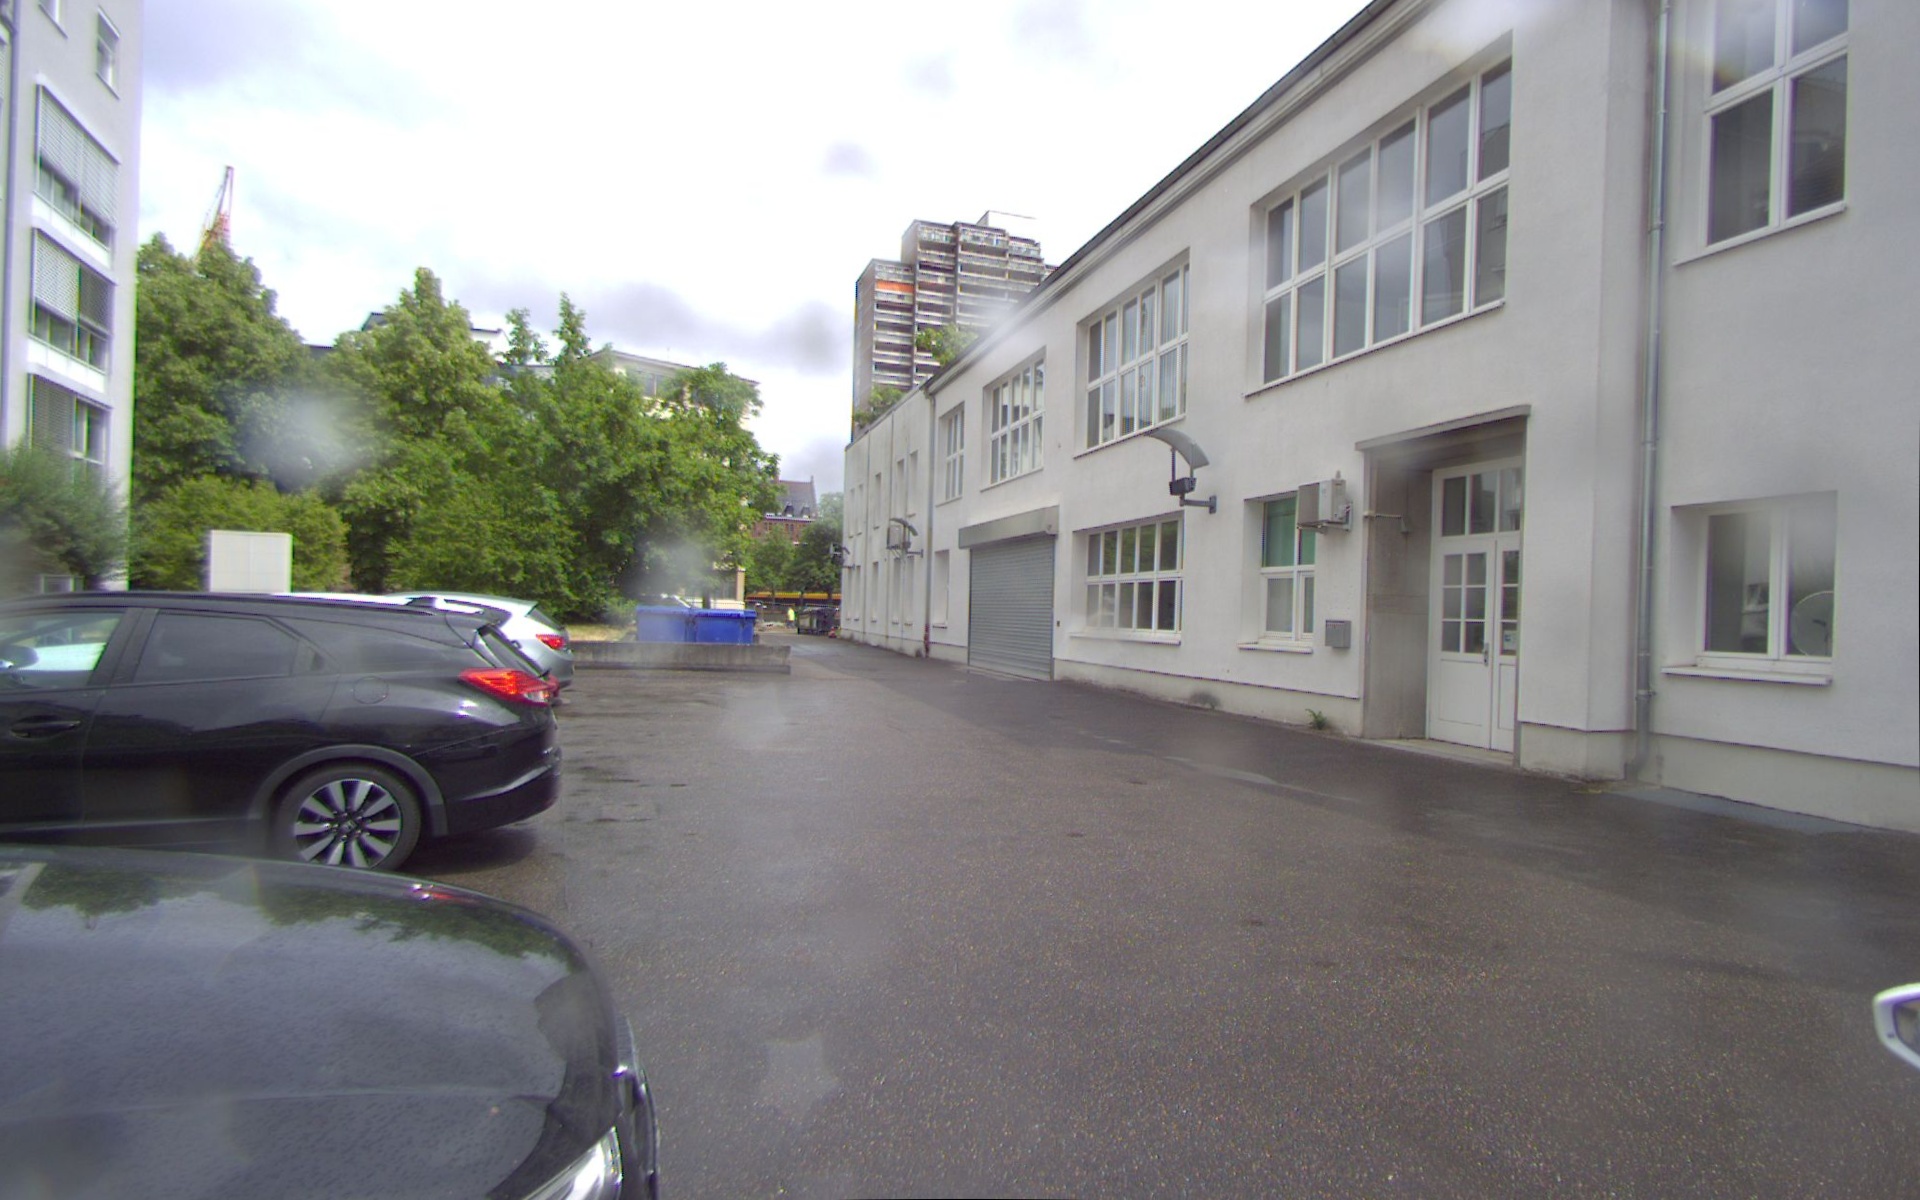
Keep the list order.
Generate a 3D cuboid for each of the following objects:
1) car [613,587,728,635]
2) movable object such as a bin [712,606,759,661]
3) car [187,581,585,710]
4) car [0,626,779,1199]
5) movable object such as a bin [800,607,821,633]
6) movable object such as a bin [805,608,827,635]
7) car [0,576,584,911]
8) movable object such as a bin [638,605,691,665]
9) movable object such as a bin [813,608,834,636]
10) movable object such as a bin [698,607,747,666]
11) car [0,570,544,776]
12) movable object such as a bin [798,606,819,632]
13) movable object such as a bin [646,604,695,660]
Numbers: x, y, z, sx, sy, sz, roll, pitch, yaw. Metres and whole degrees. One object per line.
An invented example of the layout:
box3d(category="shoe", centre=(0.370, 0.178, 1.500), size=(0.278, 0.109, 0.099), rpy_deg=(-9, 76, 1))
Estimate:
box3d(category="car", centre=(-11.504, 0.439, 40.191), size=(4.259, 1.750, 1.718), rpy_deg=(2, 0, -12))
box3d(category="movable object such as a bin", centre=(-5.818, 0.860, 25.981), size=(1.112, 1.346, 1.205), rpy_deg=(1, 0, -14))
box3d(category="car", centre=(-7.305, 0.611, 13.297), size=(4.256, 1.462, 1.753), rpy_deg=(3, 0, -24))
box3d(category="car", centre=(-2.614, 0.709, 1.065), size=(4.465, 1.370, 1.753), rpy_deg=(3, 0, -23))
box3d(category="movable object such as a bin", centre=(-8.282, 1.079, 55.618), size=(1.048, 1.374, 1.261), rpy_deg=(1, 0, -14))
box3d(category="movable object such as a bin", centre=(-7.576, 1.105, 52.853), size=(1.028, 1.374, 1.204), rpy_deg=(1, 0, -14))
box3d(category="car", centre=(-4.352, 0.655, 5.373), size=(4.256, 1.462, 1.753), rpy_deg=(3, 0, -24))
box3d(category="movable object such as a bin", centre=(-6.977, 0.816, 23.785), size=(1.112, 1.346, 1.205), rpy_deg=(1, 0, -14))
box3d(category="movable object such as a bin", centre=(-6.943, 1.127, 51.101), size=(0.962, 1.374, 0.917), rpy_deg=(1, 0, -14))
box3d(category="movable object such as a bin", centre=(-5.715, 0.857, 24.162), size=(1.077, 1.343, 1.205), rpy_deg=(1, 0, -14))
box3d(category="car", centre=(-5.785, 0.599, 8.542), size=(4.066, 1.462, 1.687), rpy_deg=(3, 0, -22))
box3d(category="movable object such as a bin", centre=(-8.592, 1.067, 56.922), size=(1.048, 1.374, 1.261), rpy_deg=(1, 0, -14))
box3d(category="movable object such as a bin", centre=(-7.301, 0.803, 25.429), size=(1.112, 1.346, 1.205), rpy_deg=(1, 0, -14))
